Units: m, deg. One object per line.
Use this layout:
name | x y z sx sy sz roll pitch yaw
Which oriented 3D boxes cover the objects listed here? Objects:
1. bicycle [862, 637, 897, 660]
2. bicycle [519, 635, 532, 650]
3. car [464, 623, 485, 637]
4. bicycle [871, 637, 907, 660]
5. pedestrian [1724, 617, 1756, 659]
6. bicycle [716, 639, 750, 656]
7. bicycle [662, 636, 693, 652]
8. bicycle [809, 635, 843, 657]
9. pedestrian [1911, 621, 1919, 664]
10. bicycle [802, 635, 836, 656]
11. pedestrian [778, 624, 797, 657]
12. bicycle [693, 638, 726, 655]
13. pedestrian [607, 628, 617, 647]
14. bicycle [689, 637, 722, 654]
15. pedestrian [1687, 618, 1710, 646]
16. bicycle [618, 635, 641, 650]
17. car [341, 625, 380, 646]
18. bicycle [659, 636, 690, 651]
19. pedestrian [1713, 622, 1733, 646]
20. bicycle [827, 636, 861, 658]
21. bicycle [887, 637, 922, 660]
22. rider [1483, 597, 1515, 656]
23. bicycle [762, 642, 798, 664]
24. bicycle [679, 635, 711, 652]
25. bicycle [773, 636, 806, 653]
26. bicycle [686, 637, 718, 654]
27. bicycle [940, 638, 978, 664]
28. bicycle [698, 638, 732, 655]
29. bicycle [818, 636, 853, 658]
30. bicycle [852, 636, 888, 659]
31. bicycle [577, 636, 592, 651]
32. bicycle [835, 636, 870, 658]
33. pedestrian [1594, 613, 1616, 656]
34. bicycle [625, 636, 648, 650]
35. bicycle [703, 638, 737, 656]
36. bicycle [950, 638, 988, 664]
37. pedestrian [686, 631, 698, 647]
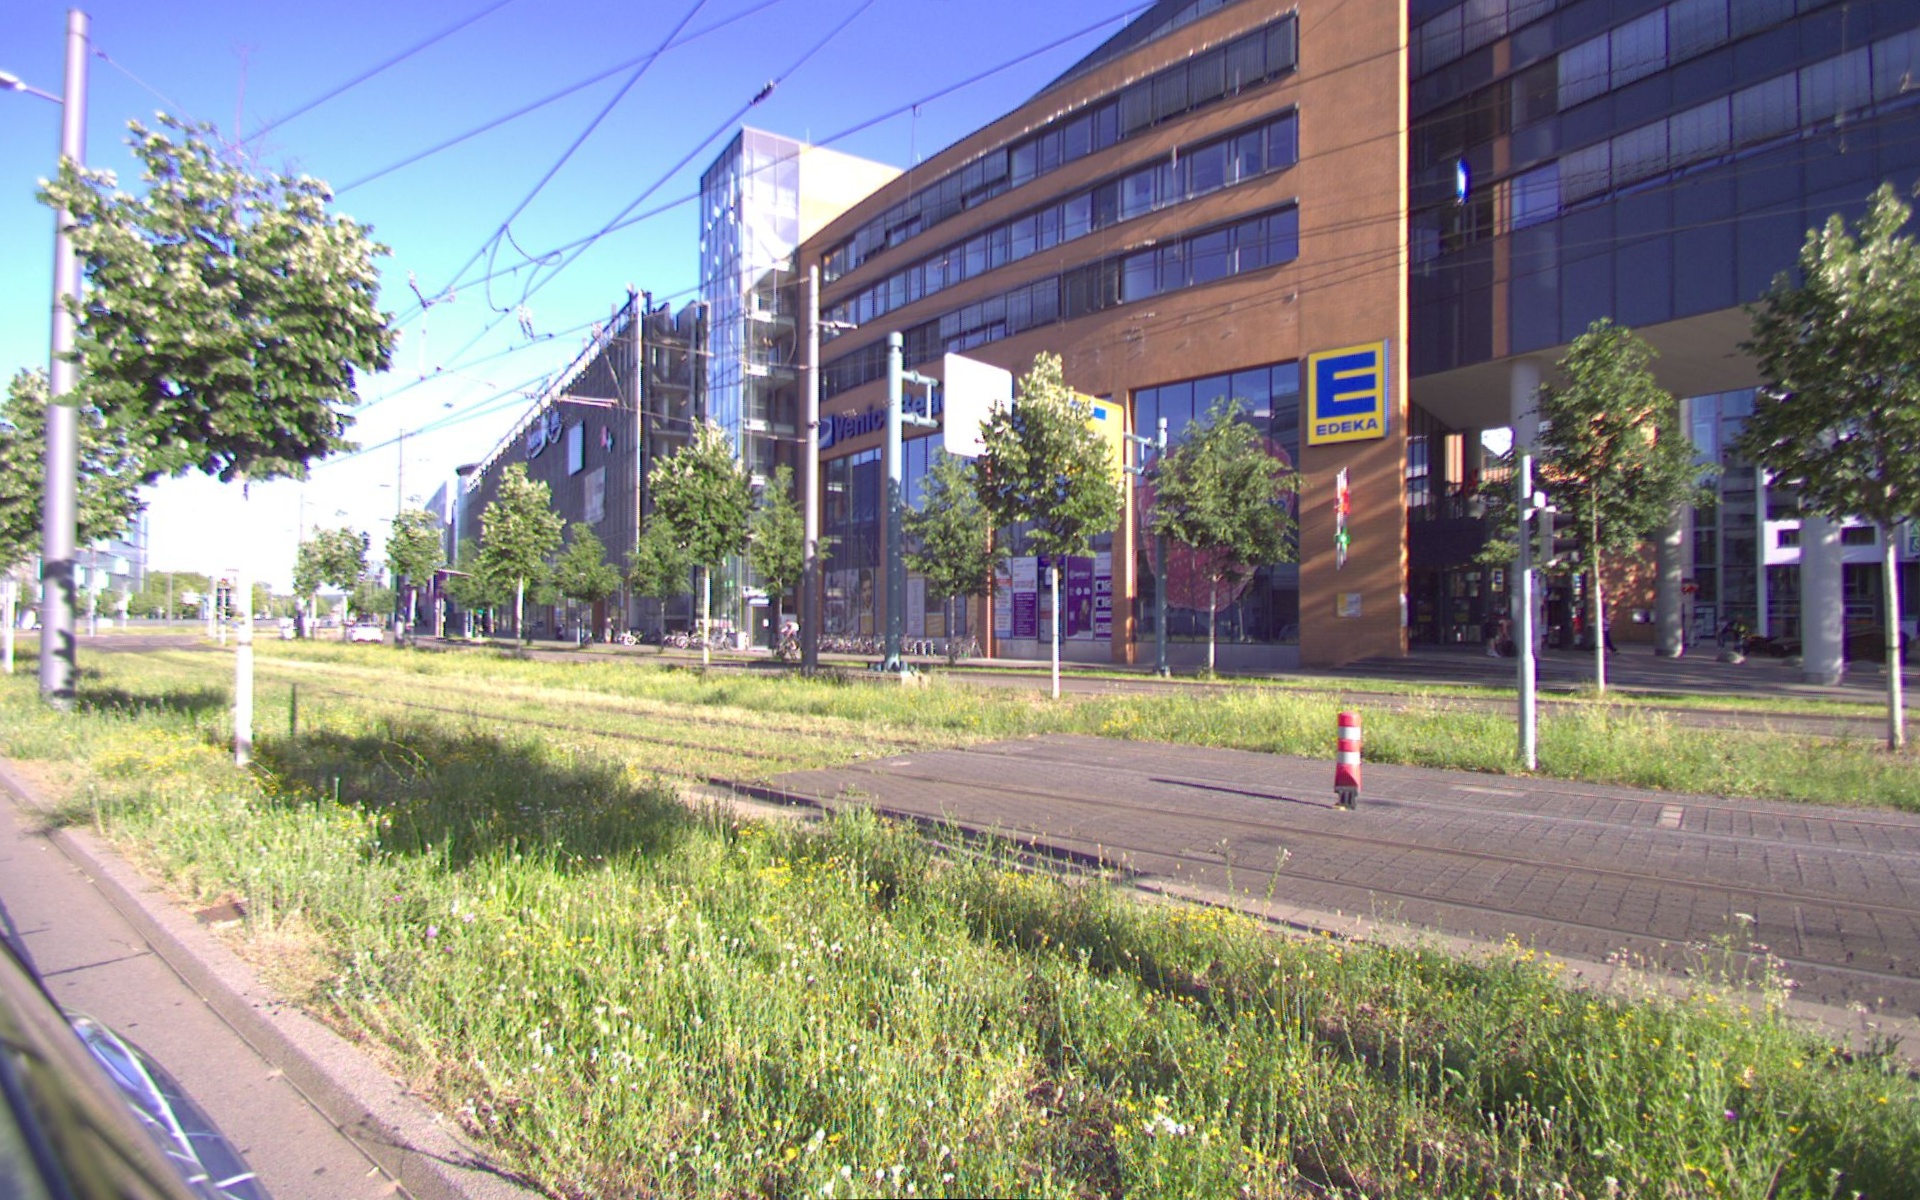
bicycle | -3.815 2.275 48.001 1.744 1.057 0.491 1 -2 -42
bicycle | -27.409 2.660 63.830 0.380 0.930 1.775 1 -2 -36
car | -56.838 3.514 118.433 1.559 1.541 3.759 0 0 -37
bicycle | -3.307 2.266 47.478 1.744 1.057 0.491 1 -2 -42
pedestrian | 32.382 1.573 42.032 0.778 1.720 0.810 0 0 -32
bicycle | -12.330 2.571 54.974 1.741 0.933 0.566 1 -2 -33
bicycle | -17.187 2.659 61.524 1.741 0.933 0.566 1 -2 -33
bicycle | -6.791 2.326 51.305 1.744 1.057 0.491 1 -2 -42
pedestrian | 39.045 1.720 40.593 0.778 1.720 1.113 0 0 -32
bicycle | -7.191 2.333 51.732 1.744 1.057 0.491 1 -2 -42
pedestrian | -9.027 2.101 52.958 0.736 1.681 0.676 1 -2 -43
bicycle | -14.110 2.602 57.044 1.741 0.933 0.566 1 -2 -33
pedestrian | -24.002 2.573 69.773 0.442 1.299 0.631 1 -2 -36
bicycle | -14.466 2.609 57.617 1.741 0.933 0.566 1 -2 -33
pedestrian | 40.349 1.728 55.288 1.038 1.491 0.660 0 0 -32
bicycle | -22.045 2.839 67.550 1.377 0.933 0.463 1 -2 -33
car | -39.581 2.343 66.799 1.782 1.338 4.415 2 -2 -36
bicycle | -17.539 2.666 62.125 1.741 0.933 0.492 1 -2 -33
pedestrian | 41.508 1.847 55.073 0.627 1.287 0.664 0 0 -32
bicycle | -5.719 2.307 49.986 1.744 1.057 0.491 1 -2 -42
bicycle | -2.584 2.257 47.307 1.744 1.057 0.491 1 -2 -42
rider | 16.918 0.841 31.778 0.712 1.816 0.710 -1 -2 42
bicycle | -7.490 2.210 42.094 1.771 0.875 0.458 -1 -2 42
bicycle | -15.561 2.553 59.421 1.741 0.933 0.492 1 -2 -33
bicycle | -9.439 2.455 56.076 1.741 0.933 0.566 1 -2 -33
bicycle | -14.832 2.616 58.190 1.741 0.933 0.566 1 -2 -33
bicycle | -0.044 2.188 43.722 1.744 1.057 0.491 1 -2 -42
bicycle | -13.661 2.594 56.396 1.741 0.933 0.566 1 -2 -33
bicycle | -6.201 2.316 50.512 1.744 1.057 0.491 1 -2 -42
bicycle | -4.304 2.283 48.526 1.744 1.057 0.491 1 -2 -42
bicycle | -22.720 2.637 61.208 0.380 0.875 1.775 1 -2 -36
bicycle | -5.255 2.299 49.436 1.744 1.057 0.491 1 -2 -42
pedestrian | 22.462 1.186 35.246 0.572 1.491 0.447 -1 -1 41
bicycle | -21.190 2.823 66.357 1.377 0.933 0.463 1 -2 -33
bicycle | -13.203 2.585 55.705 1.741 0.933 0.566 1 -2 -33
bicycle | 0.396 2.180 43.296 1.744 1.057 0.491 1 -2 -42
pedestrian | -17.921 2.589 67.604 0.619 1.063 0.450 1 -2 -36
